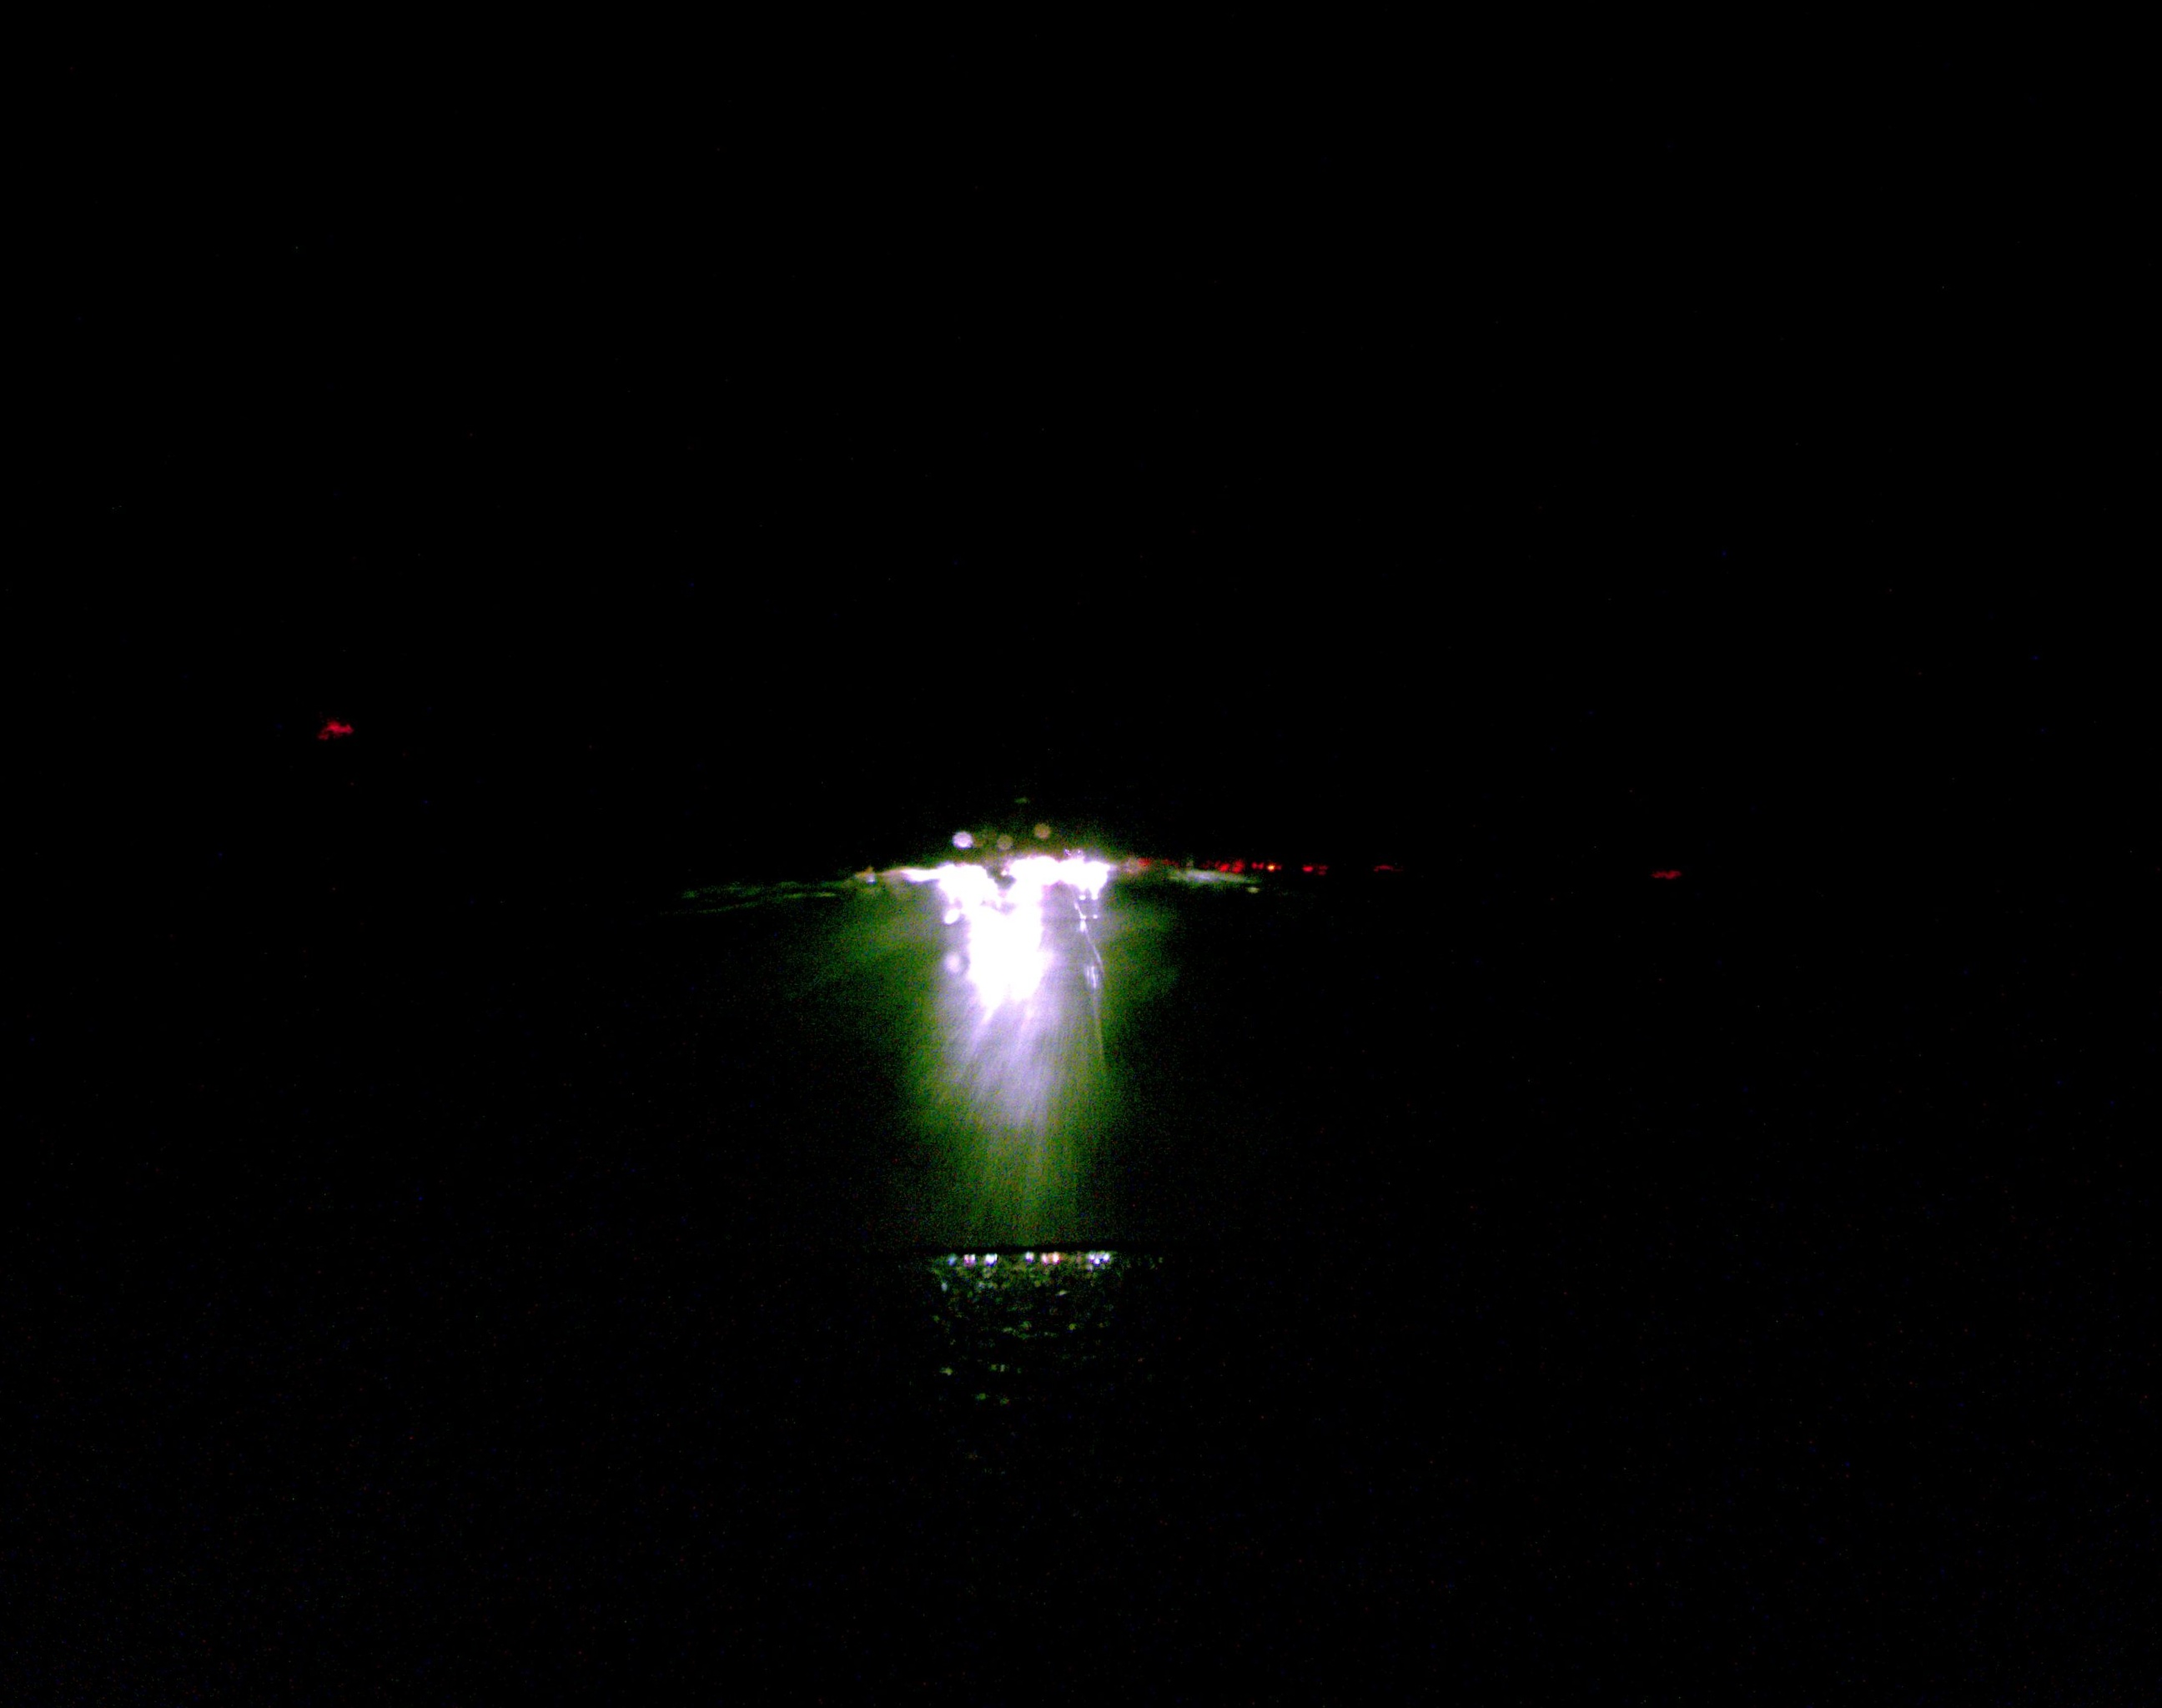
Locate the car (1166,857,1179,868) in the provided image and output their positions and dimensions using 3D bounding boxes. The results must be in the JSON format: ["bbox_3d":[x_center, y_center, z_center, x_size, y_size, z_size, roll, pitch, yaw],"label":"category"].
[{"bbox_3d":[16.244,1.469,134.429,1.787,1.872,3.999,-2,1,1],"label":"car"}]

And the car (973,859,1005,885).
[{"bbox_3d":[-6.663,1.279,55.432,1.793,1.681,3.999,-2,1,-1],"label":"car"}]

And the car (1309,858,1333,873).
[{"bbox_3d":[27.853,1.286,88.404,1.626,1.600,3.791,-2,1,1],"label":"car"}]

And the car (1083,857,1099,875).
[{"bbox_3d":[1.053,1.282,80.974,1.611,1.775,3.909,-2,1,-1],"label":"car"}]

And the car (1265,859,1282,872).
[{"bbox_3d":[31.879,1.877,125.760,1.822,1.936,3.999,-2,1,1],"label":"car"}]

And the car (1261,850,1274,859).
[{"bbox_3d":[42.327,0.077,172.730,1.895,1.778,4.173,-2,1,1],"label":"car"}]

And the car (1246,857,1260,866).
[{"bbox_3d":[33.507,1.408,148.024,1.817,1.680,3.999,-2,1,0],"label":"car"}]

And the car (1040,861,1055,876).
[{"bbox_3d":[-4.154,1.770,94.098,1.615,1.697,3.597,-2,1,1],"label":"car"}]

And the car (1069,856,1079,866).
[{"bbox_3d":[-1.266,1.333,145.296,1.800,1.728,3.999,-2,1,-1],"label":"car"}]

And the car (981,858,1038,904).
[{"bbox_3d":[-2.903,1.050,31.770,1.960,1.655,4.915,-2,0,-1],"label":"car"}]

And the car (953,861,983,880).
[{"bbox_3d":[-10.496,1.520,70.881,1.998,1.590,4.652,-2,1,1],"label":"car"}]

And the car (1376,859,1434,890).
[{"bbox_3d":[17.982,1.115,42.291,1.722,1.537,3.523,-2,1,1],"label":"car"}]

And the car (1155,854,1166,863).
[{"bbox_3d":[18.588,0.953,178.490,2.213,2.002,3.999,-2,1,1],"label":"car"}]

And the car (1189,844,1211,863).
[{"bbox_3d":[20.734,-0.098,132.749,2.714,3.187,6.321,-2,1,1],"label":"car"}]

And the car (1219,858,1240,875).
[{"bbox_3d":[17.401,1.417,89.210,1.745,1.765,3.999,-2,1,1],"label":"car"}]

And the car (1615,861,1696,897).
[{"bbox_3d":[30.187,1.261,40.049,1.641,1.683,3.412,-2,1,0],"label":"car"}]
